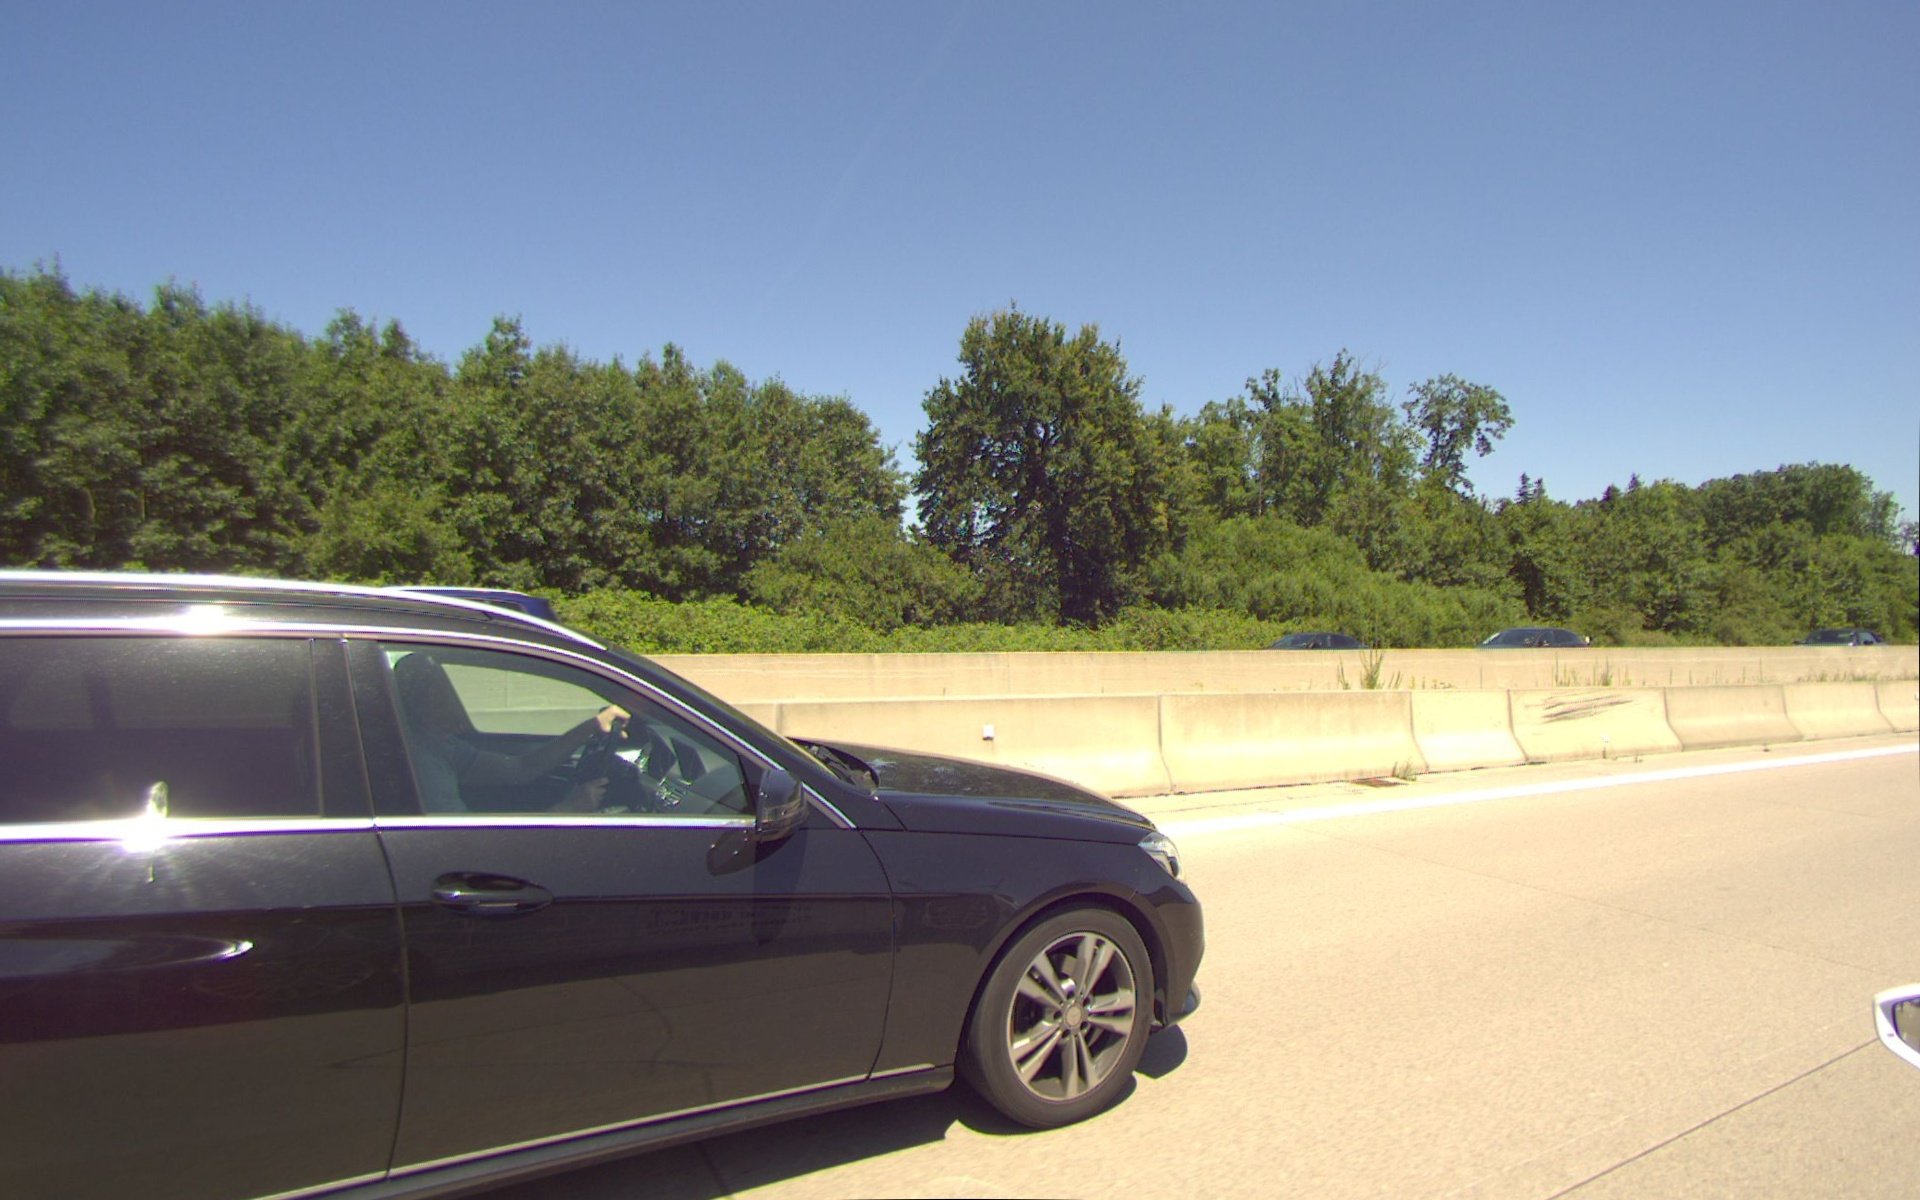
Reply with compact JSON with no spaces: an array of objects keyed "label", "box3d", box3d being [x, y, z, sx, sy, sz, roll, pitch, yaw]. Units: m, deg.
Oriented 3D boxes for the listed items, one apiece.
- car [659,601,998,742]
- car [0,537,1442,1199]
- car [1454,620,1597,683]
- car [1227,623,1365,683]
[{"label":"car","box3d":[-1.742,0.917,13.891,4.357,1.680,1.694,1,-2,-32]},{"label":"car","box3d":[-1.090,0.646,3.079,5.537,1.493,1.882,0,0,-30]},{"label":"car","box3d":[16.234,1.435,28.785,4.357,1.680,1.694,1,-2,-32]},{"label":"car","box3d":[9.929,1.530,29.631,4.045,1.680,1.694,1,-2,-32]}]
